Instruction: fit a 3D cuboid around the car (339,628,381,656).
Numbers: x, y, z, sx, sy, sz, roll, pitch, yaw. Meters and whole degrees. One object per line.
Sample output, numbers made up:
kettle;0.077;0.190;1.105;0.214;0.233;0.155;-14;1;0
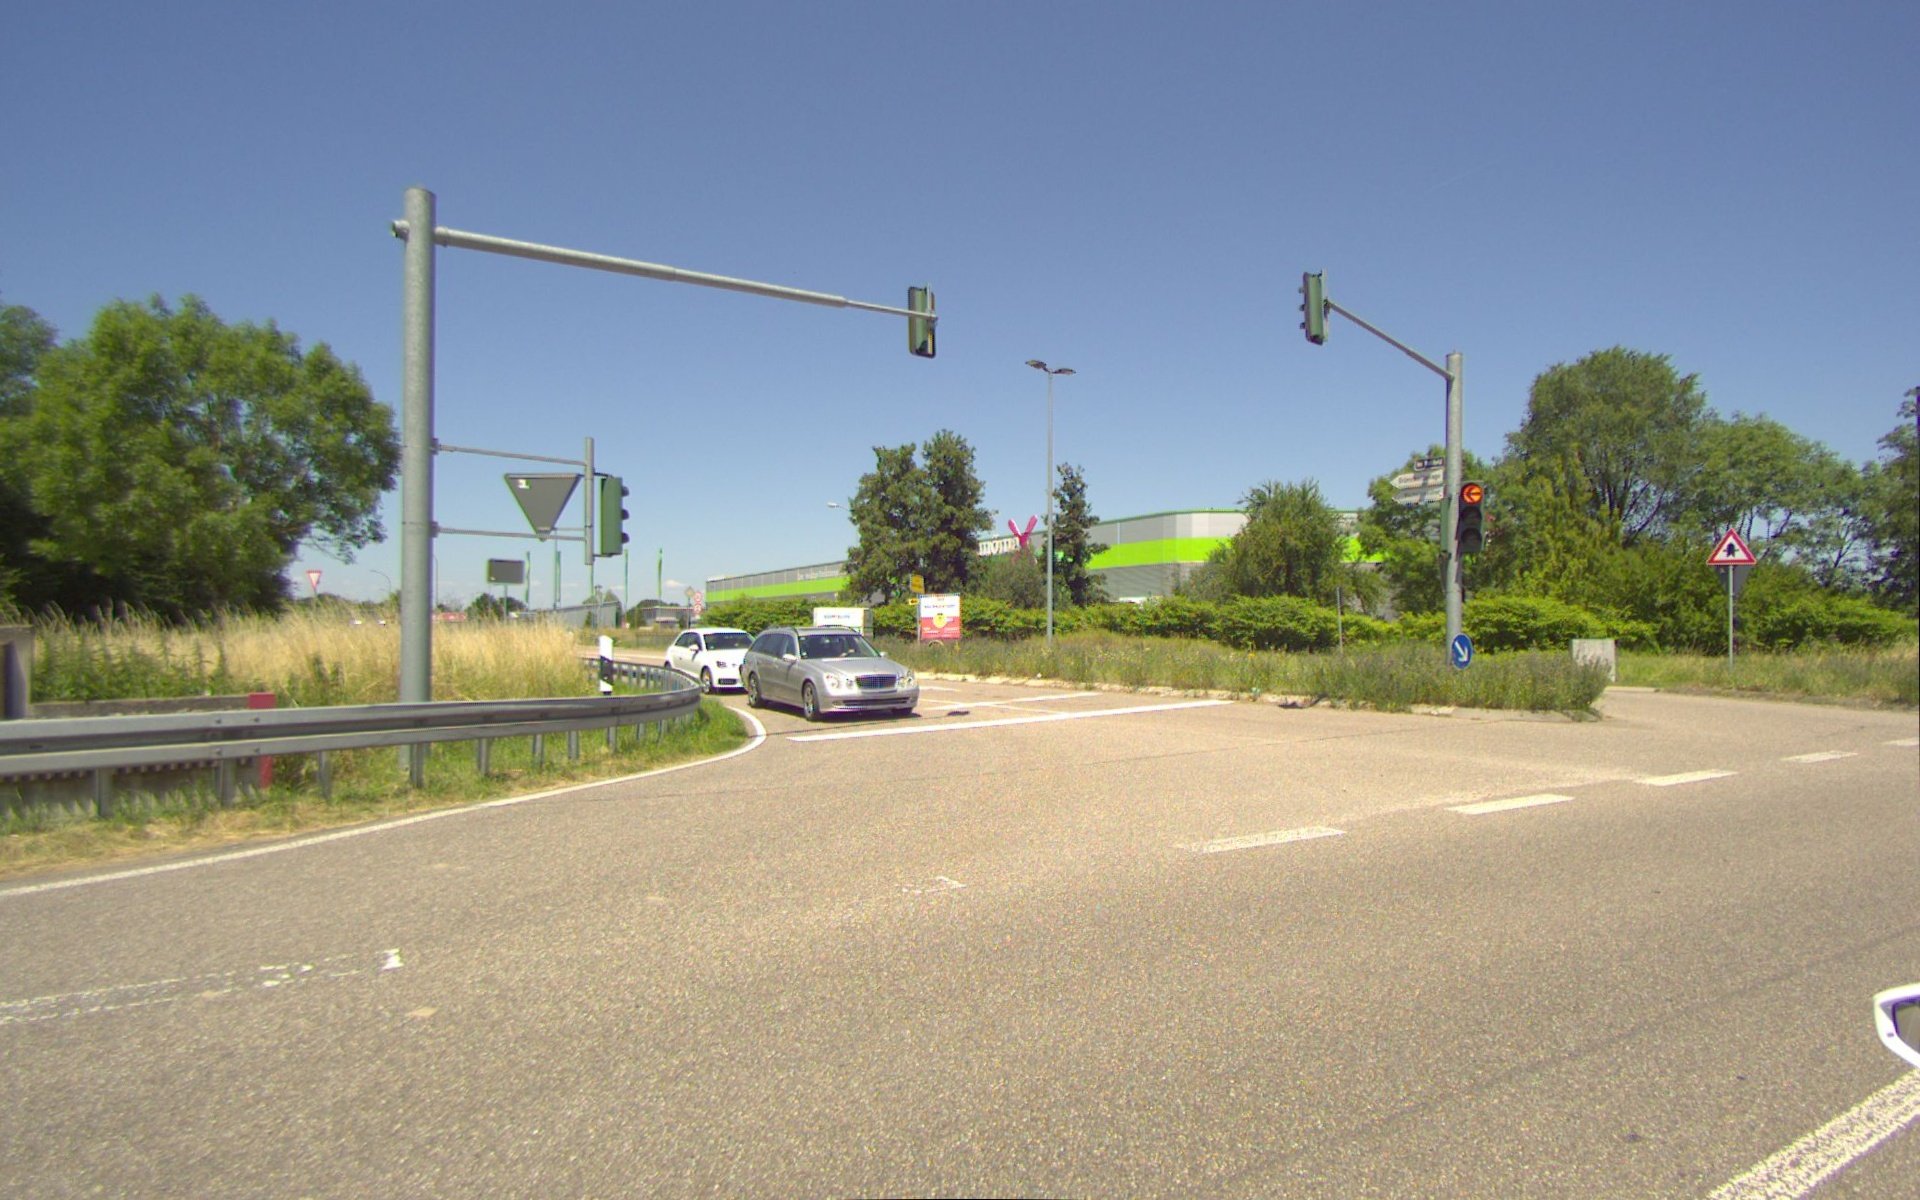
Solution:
car;-37.728;2.607;63.126;1.755;1.646;4.189;0;-1;-38

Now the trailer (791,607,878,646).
trailer;-6.031;1.257;48.423;3.682;1.815;1.828;0;-1;15

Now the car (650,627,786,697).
car;-5.701;1.379;23.399;1.754;1.417;3.924;0;-1;-36

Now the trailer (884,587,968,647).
trailer;-1.617;0.819;48.829;3.682;2.801;1.828;0;-1;14

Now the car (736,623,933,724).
car;-2.379;1.166;17.654;1.854;1.476;4.936;1;-1;-27
